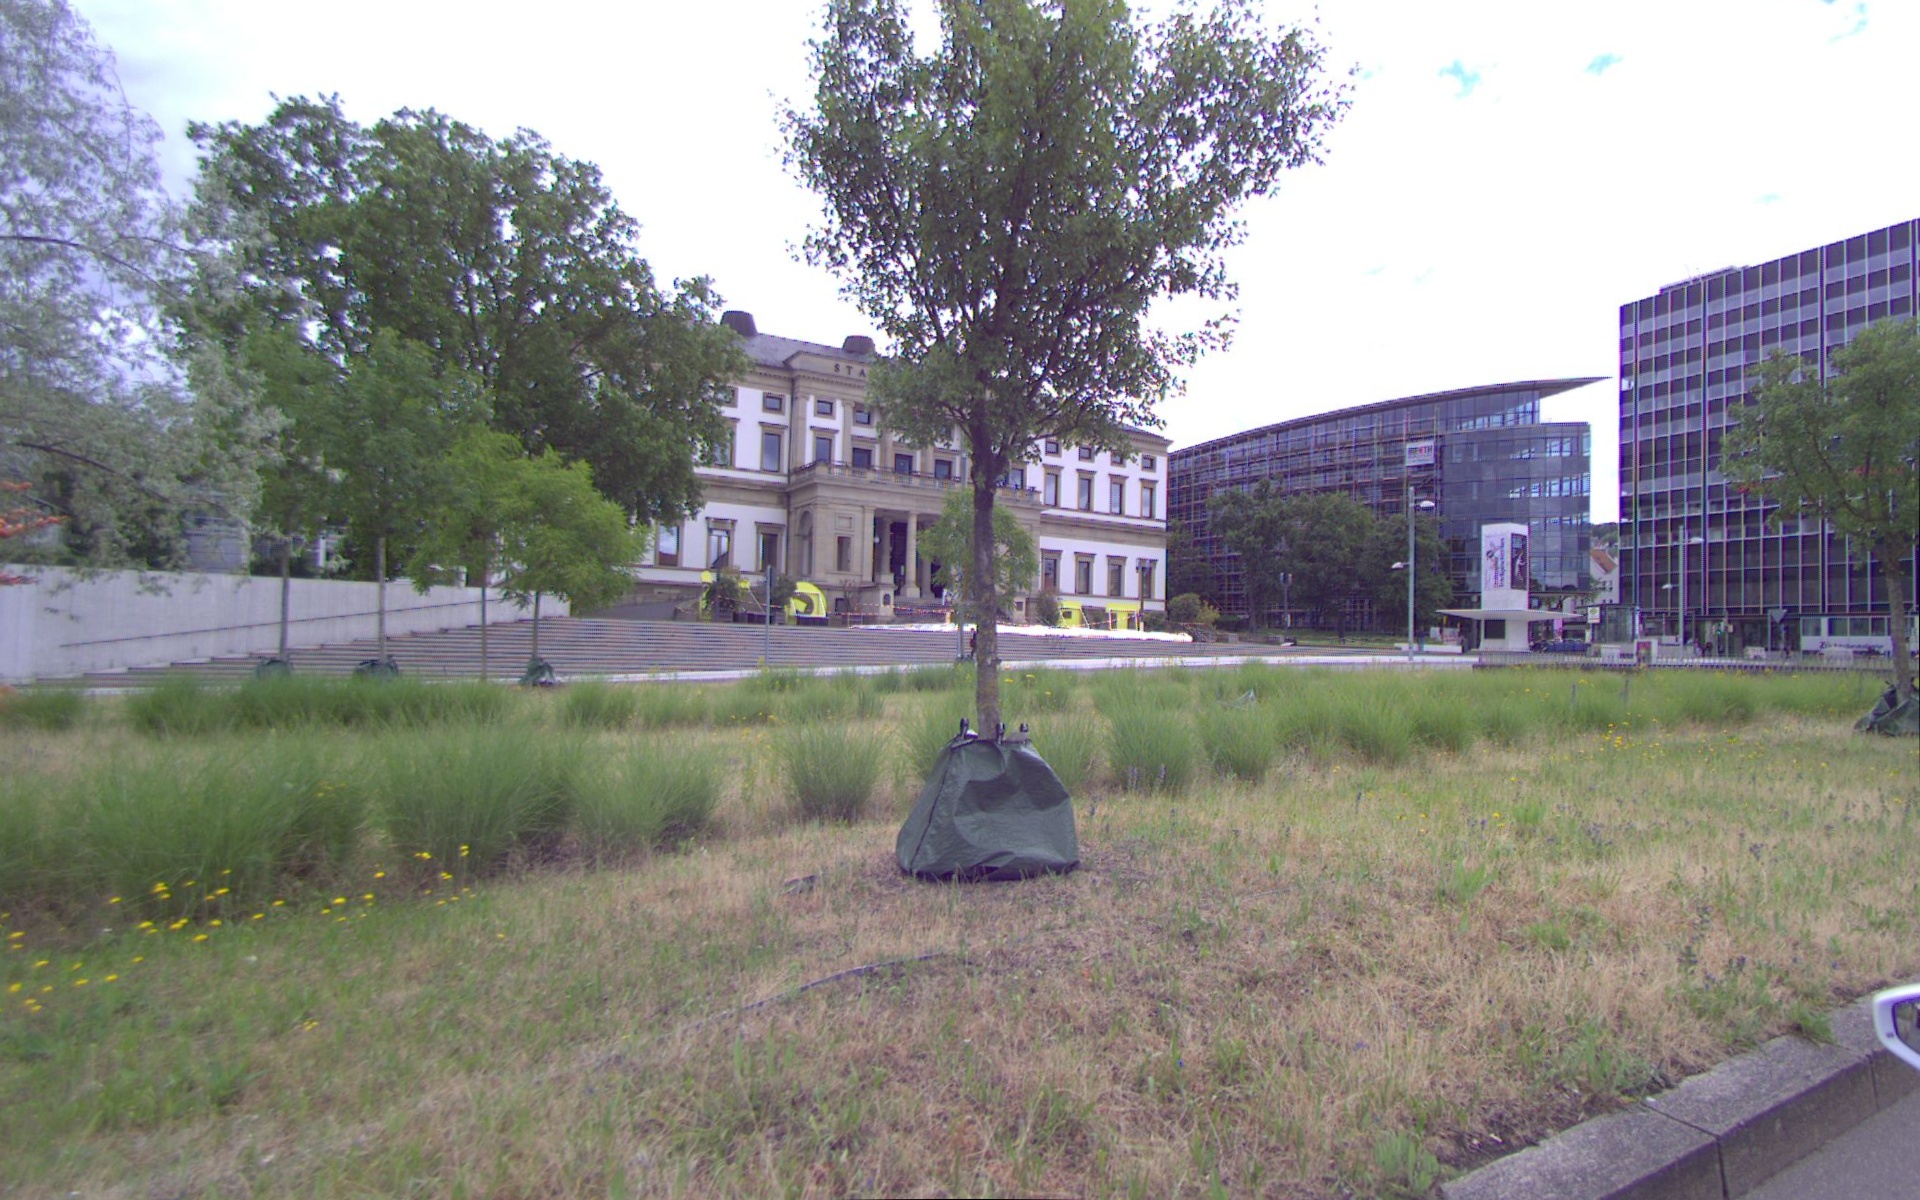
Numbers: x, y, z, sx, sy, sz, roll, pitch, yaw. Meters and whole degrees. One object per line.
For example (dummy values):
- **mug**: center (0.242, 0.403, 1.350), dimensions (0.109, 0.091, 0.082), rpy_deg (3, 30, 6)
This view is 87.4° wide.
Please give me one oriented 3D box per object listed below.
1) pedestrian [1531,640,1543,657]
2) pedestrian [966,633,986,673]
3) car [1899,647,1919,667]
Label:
- **pedestrian**: center (36.990, 3.098, 64.390), dimensions (0.553, 1.095, 0.472), rpy_deg (2, -1, -29)
- **pedestrian**: center (0.673, 2.248, 42.494), dimensions (0.643, 1.671, 0.521), rpy_deg (2, -1, -32)
- **car**: center (77.699, 4.625, 80.471), dimensions (1.689, 1.522, 3.984), rpy_deg (1, -1, 11)
